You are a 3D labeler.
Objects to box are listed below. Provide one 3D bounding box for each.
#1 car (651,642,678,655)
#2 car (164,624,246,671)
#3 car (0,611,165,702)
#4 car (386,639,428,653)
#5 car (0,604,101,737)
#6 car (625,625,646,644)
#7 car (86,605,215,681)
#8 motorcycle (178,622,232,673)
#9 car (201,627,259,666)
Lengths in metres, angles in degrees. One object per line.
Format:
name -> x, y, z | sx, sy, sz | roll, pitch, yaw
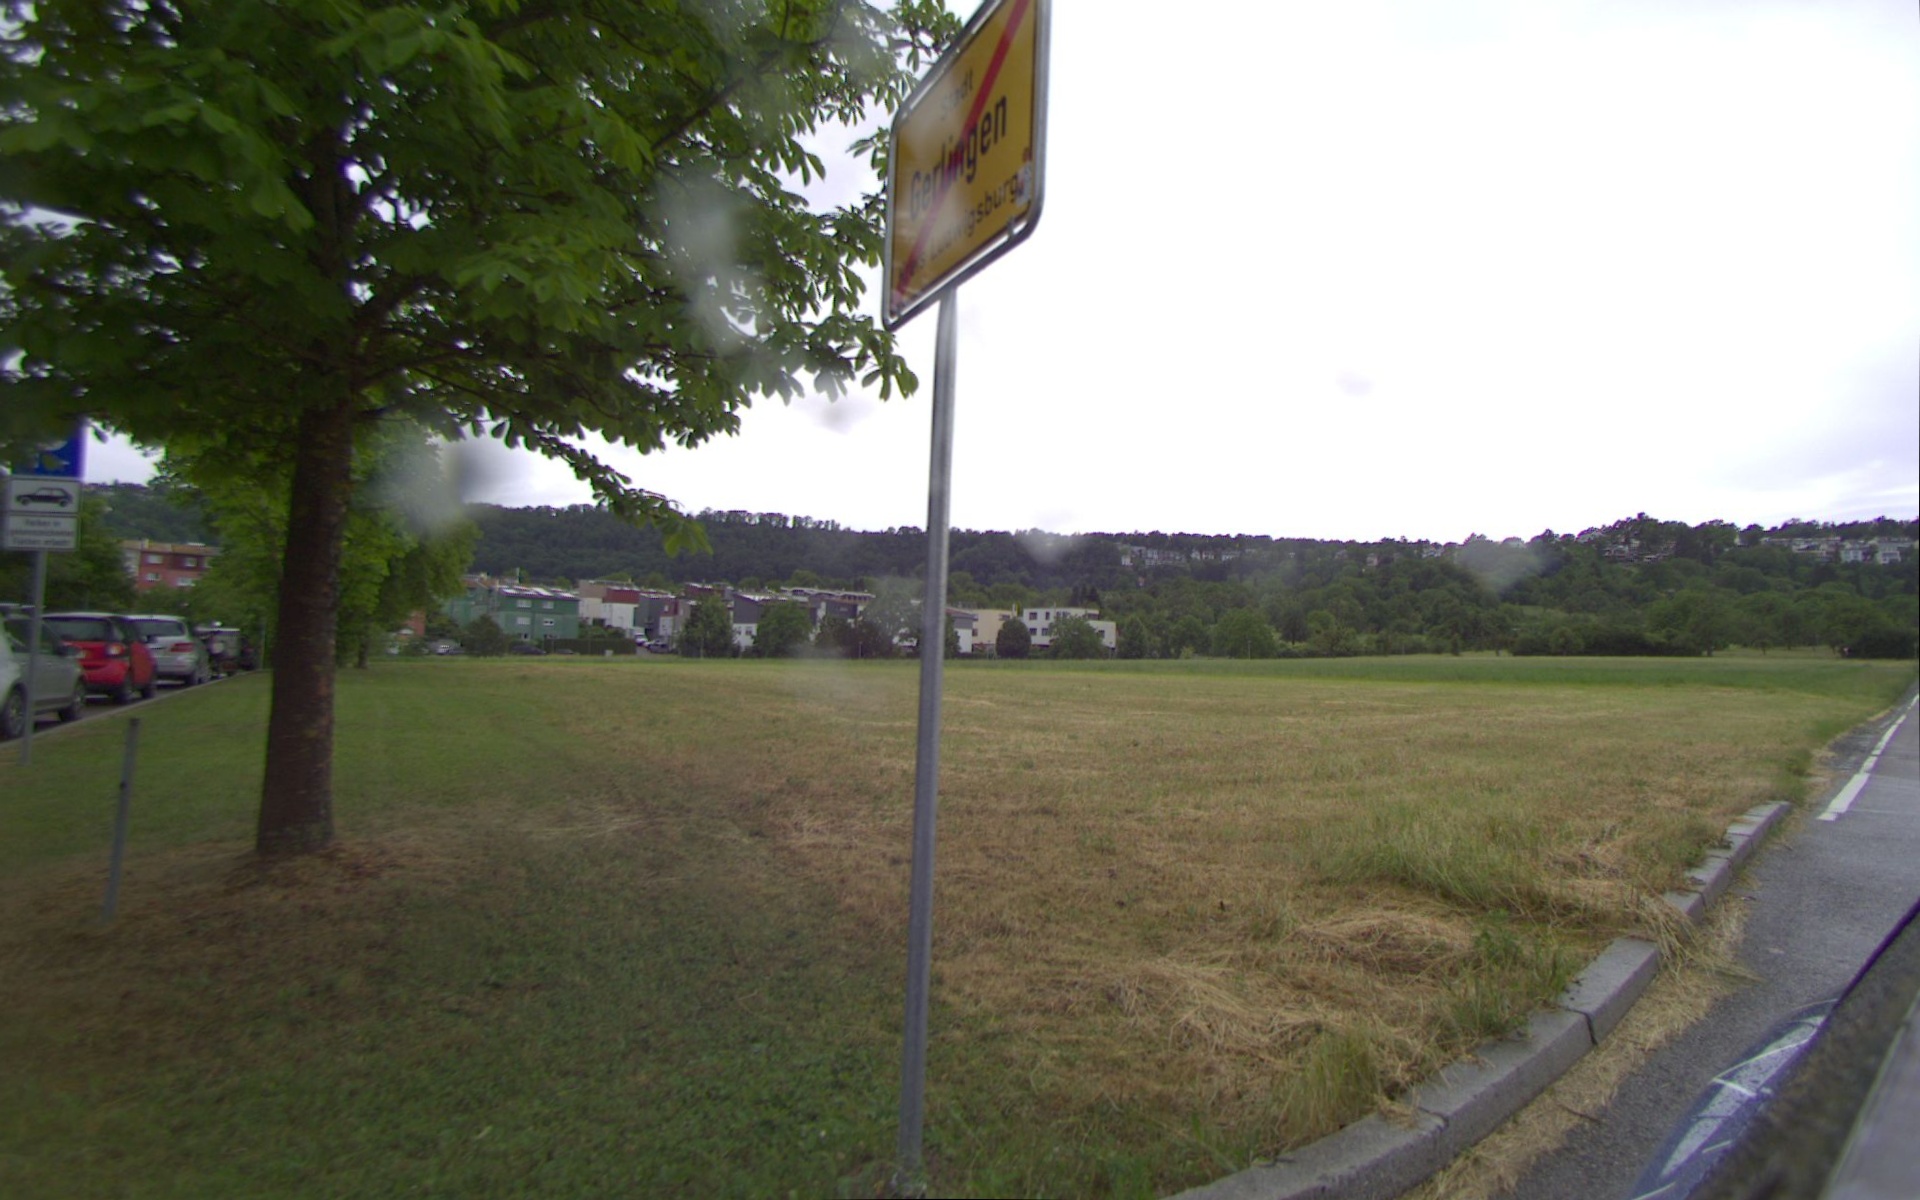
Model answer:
car -> -51.967, 8.512, 177.919 | 3.929, 2.040, 1.997 | 3, -2, -40
car -> -22.573, 1.390, 30.357 | 1.700, 1.297, 3.329 | 2, -2, -33
car -> -15.364, 0.951, 17.860 | 1.522, 1.455, 3.015 | 1, -2, -27
car -> -81.555, 6.773, 149.345 | 5.181, 2.039, 1.999 | 2, -1, -36
car -> -12.440, 0.802, 12.734 | 1.645, 1.498, 3.559 | 1, -1, -27
car -> -61.015, 6.455, 190.271 | 2.101, 3.266, 5.084 | 2, -1, -38
car -> -18.400, 0.976, 23.175 | 1.815, 1.572, 3.991 | 2, -3, -32
motorcycle -> -20.423, 1.278, 27.432 | 0.952, 1.319, 2.265 | 3, -3, -33
car -> -32.240, 2.101, 44.784 | 1.924, 1.629, 3.998 | 3, -5, -34
